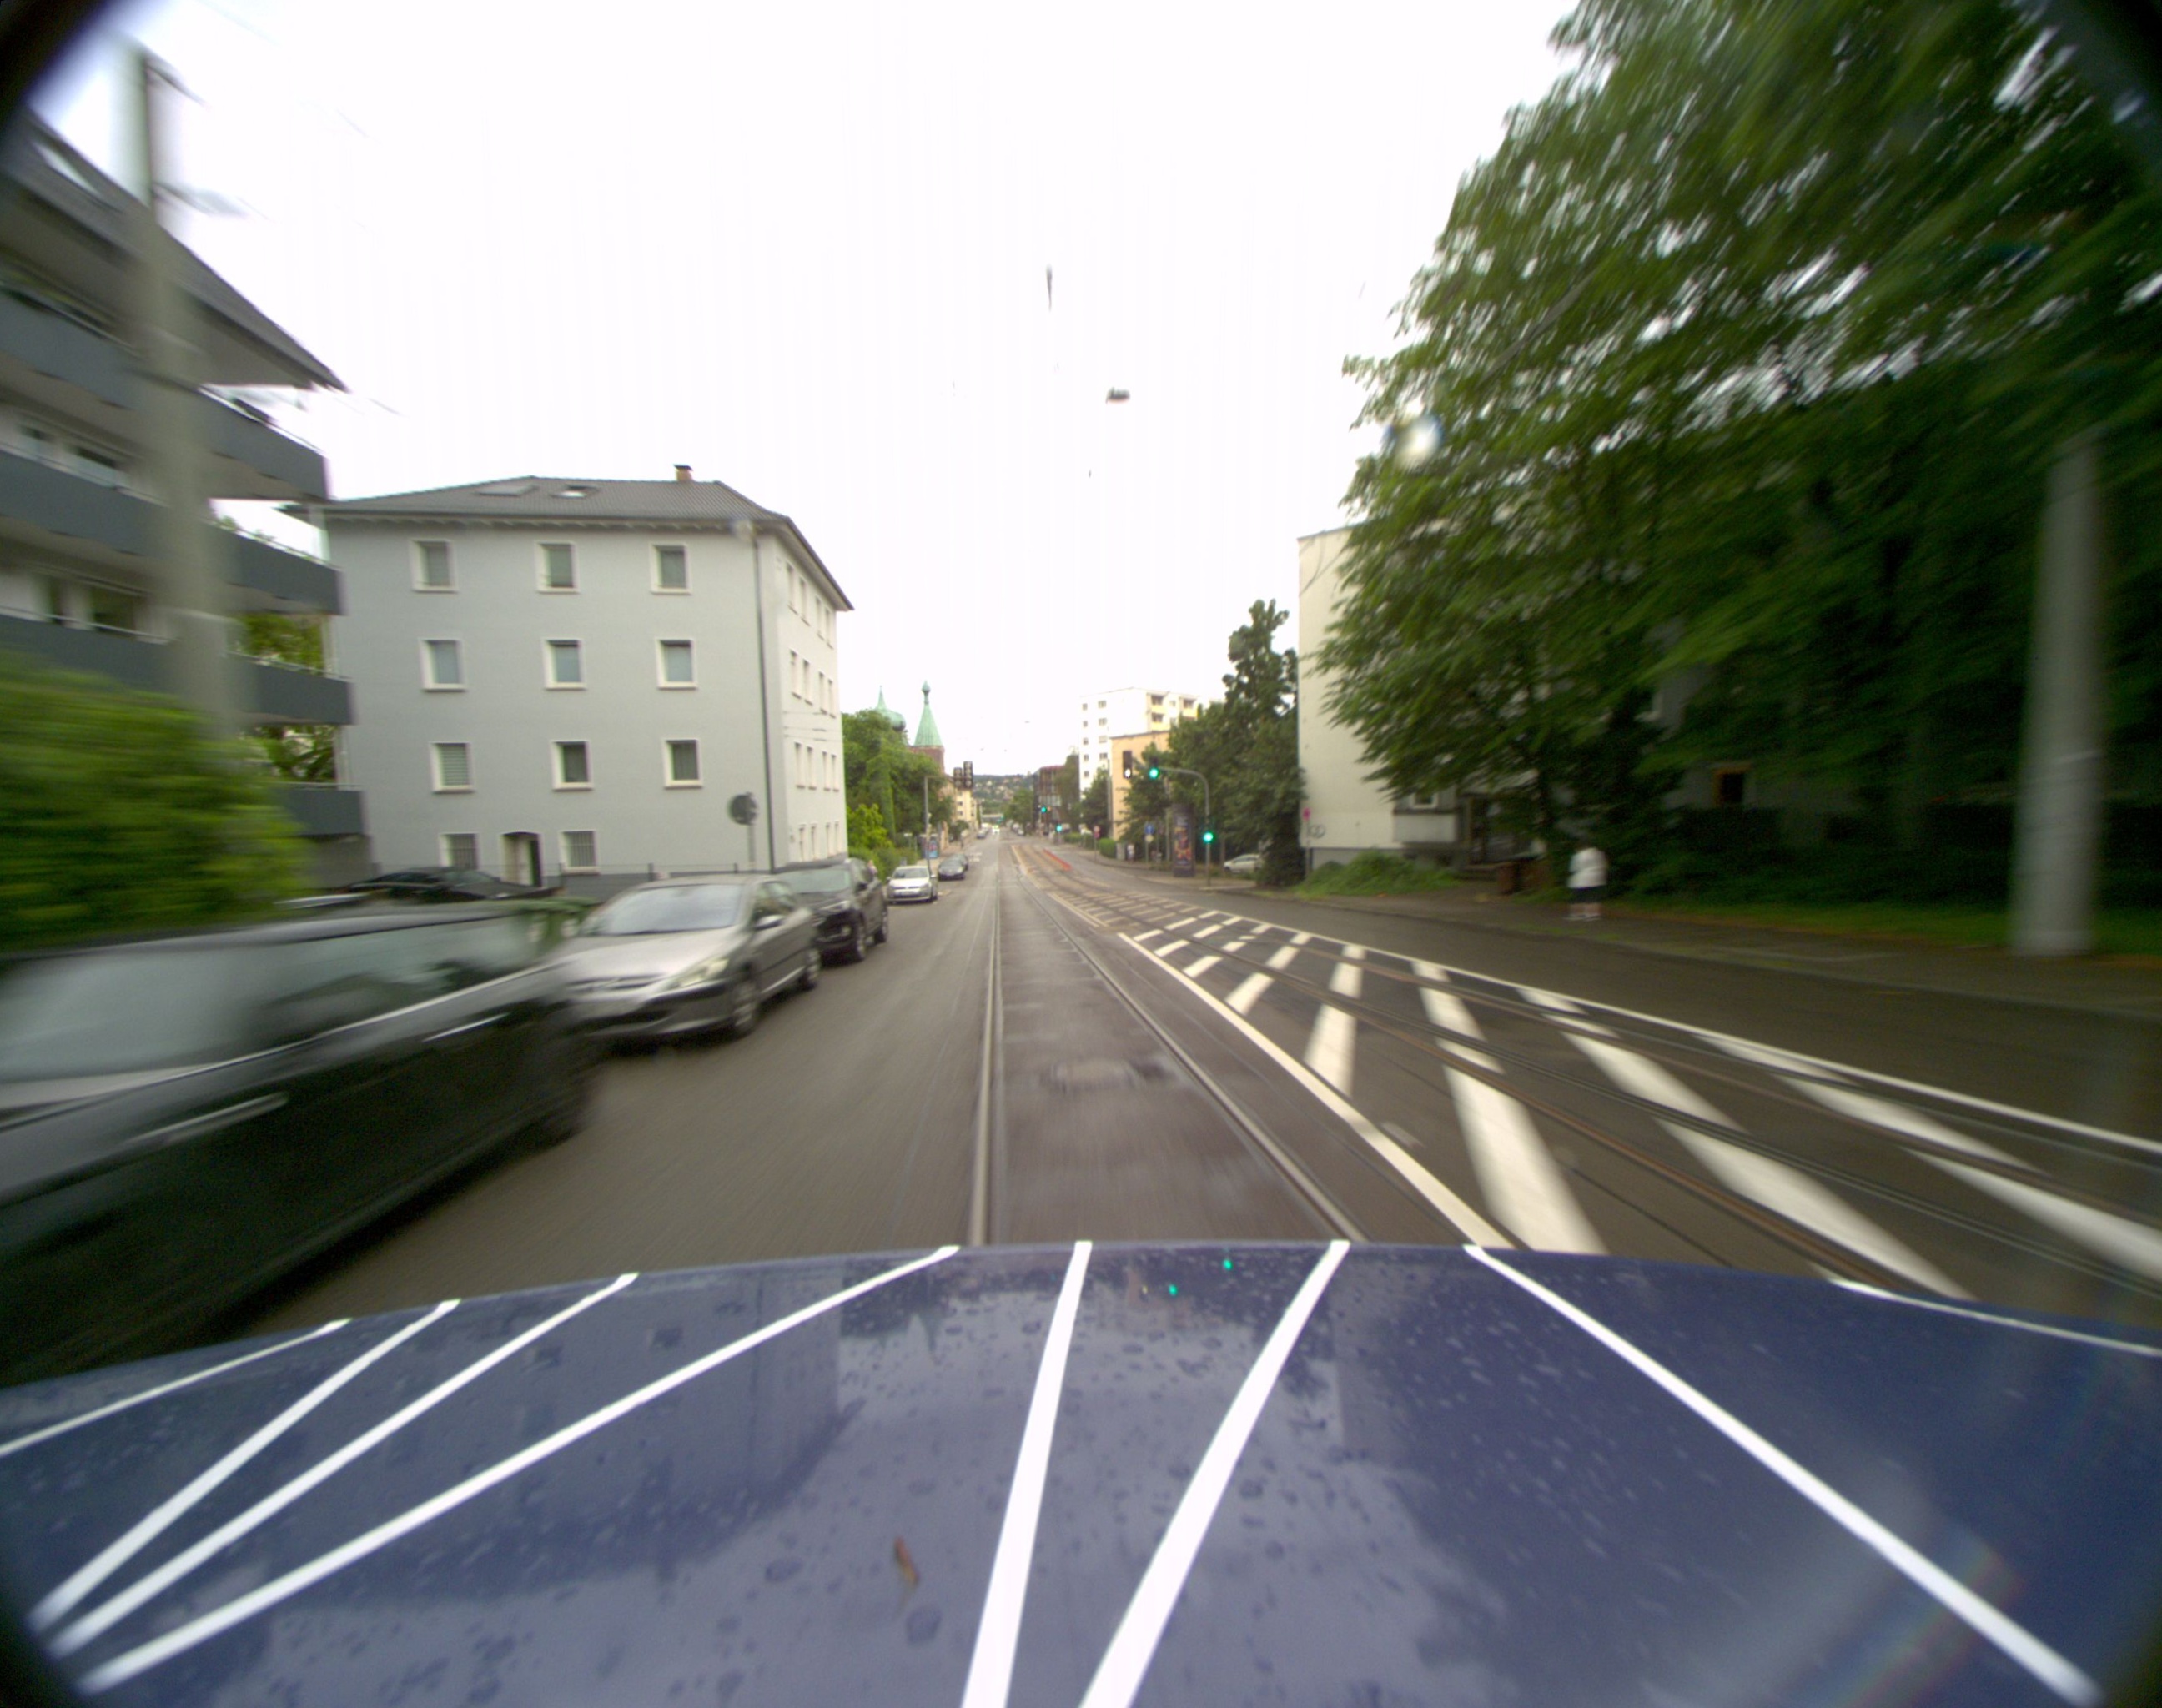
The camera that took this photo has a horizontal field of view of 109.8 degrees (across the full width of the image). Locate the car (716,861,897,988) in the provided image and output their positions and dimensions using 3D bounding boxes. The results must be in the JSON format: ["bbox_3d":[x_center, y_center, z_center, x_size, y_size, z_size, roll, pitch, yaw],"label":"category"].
[{"bbox_3d":[-4.547,1.036,13.401,1.912,1.632,4.685,-3,1,-7],"label":"car"}]

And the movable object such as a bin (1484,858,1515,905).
[{"bbox_3d":[11.889,0.770,21.577,0.625,1.227,0.668,2,7,42],"label":"movable object such as a bin"}]

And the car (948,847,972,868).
[{"bbox_3d":[-10.455,0.302,66.008,1.864,1.479,4.639,-3,3,-8],"label":"car"}]

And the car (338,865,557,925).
[{"bbox_3d":[-17.204,1.089,20.800,4.381,1.424,1.818,0,3,0],"label":"car"}]

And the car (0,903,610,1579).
[{"bbox_3d":[-3.644,1.088,2.793,1.710,1.418,3.859,-3,1,-7],"label":"car"}]

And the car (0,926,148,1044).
[{"bbox_3d":[-15.096,1.866,9.427,1.782,1.371,4.426,-2,1,-7],"label":"car"}]

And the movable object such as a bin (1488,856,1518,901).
[{"bbox_3d":[12.277,0.712,22.123,0.625,1.227,0.668,2,7,42],"label":"movable object such as a bin"}]

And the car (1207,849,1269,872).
[{"bbox_3d":[11.946,0.488,57.996,4.148,1.473,2.003,1,6,39],"label":"car"}]

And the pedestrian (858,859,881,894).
[{"bbox_3d":[-9.719,1.010,34.904,0.885,1.574,0.801,-1,0,-4],"label":"pedestrian"}]

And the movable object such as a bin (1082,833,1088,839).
[{"bbox_3d":[0.561,-2.564,108.547,0.689,0.877,0.759,-3,5,-11],"label":"movable object such as a bin"}]

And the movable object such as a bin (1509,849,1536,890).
[{"bbox_3d":[14.086,0.474,24.245,0.625,1.227,0.628,2,7,42],"label":"movable object such as a bin"}]

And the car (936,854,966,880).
[{"bbox_3d":[-9.217,0.866,54.122,1.946,1.456,4.201,-3,3,-8],"label":"car"}]

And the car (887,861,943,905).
[{"bbox_3d":[-6.418,1.082,29.778,1.710,1.425,4.098,-3,1,-7],"label":"car"}]

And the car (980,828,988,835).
[{"bbox_3d":[-22.666,-5.294,176.793,1.735,1.452,4.472,-3,5,-7],"label":"car"}]

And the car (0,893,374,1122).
[{"bbox_3d":[-10.497,1.480,8.343,1.725,1.507,4.198,-3,5,-7],"label":"car"}]

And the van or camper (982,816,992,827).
[{"bbox_3d":[-30.297,-10.524,244.784,2.755,3.042,7.021,-2,5,-5],"label":"van or camper"}]

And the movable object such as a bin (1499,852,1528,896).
[{"bbox_3d":[13.152,0.599,23.122,0.625,1.227,0.668,2,7,42],"label":"movable object such as a bin"}]

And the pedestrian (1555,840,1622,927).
[{"bbox_3d":[9.796,0.546,14.679,0.585,1.591,0.868,-5,2,-10],"label":"pedestrian"}]

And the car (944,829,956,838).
[{"bbox_3d":[-24.967,-3.930,144.895,1.859,1.495,4.443,1,4,-6],"label":"car"}]

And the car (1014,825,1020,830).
[{"bbox_3d":[-21.846,-9.009,259.852,2.000,1.566,3.994,-3,5,-7],"label":"car"}]

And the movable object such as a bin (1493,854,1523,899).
[{"bbox_3d":[12.701,0.657,22.606,0.625,1.227,0.668,2,7,42],"label":"movable object such as a bin"}]

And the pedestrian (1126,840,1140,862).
[{"bbox_3d":[4.625,-0.279,67.779,0.922,1.836,1.015,-4,5,-11],"label":"pedestrian"}]

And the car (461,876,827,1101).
[{"bbox_3d":[-4.026,1.082,7.939,1.710,1.420,4.247,-3,1,-7],"label":"car"}]
